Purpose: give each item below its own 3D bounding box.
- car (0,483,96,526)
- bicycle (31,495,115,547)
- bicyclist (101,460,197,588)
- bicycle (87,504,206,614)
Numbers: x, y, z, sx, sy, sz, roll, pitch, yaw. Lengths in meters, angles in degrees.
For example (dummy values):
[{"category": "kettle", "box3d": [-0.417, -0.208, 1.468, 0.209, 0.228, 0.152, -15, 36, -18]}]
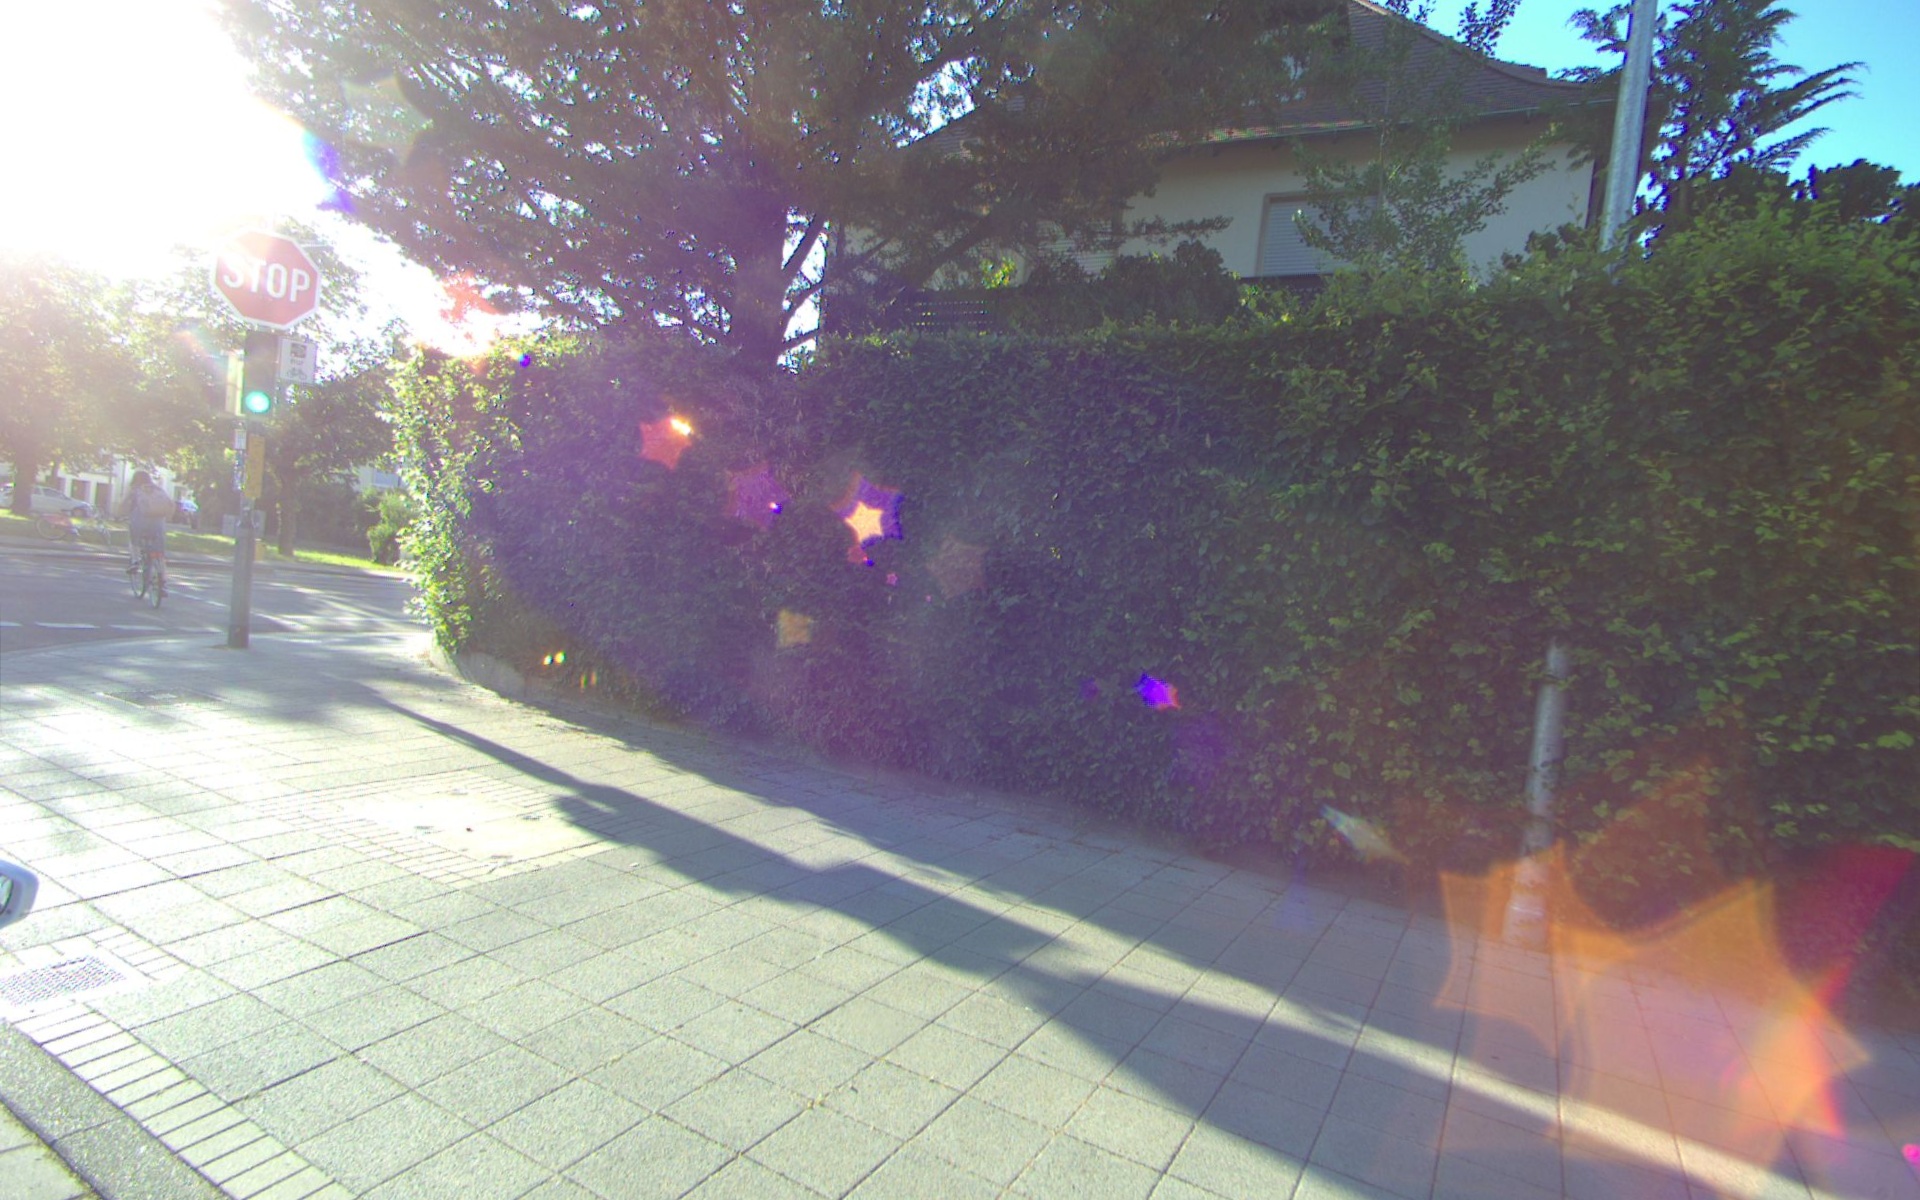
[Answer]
[{"category": "car", "box3d": [-46.070, -4.776, 50.342, 1.497, 1.542, 3.932, 5, -2, 25]}, {"category": "bicycle", "box3d": [-23.044, -2.040, 26.159, 0.460, 1.103, 1.520, 11, 3, 38]}, {"category": "bicyclist", "box3d": [-10.887, -1.013, 13.503, 0.881, 1.580, 0.711, 6, -2, 41]}, {"category": "bicycle", "box3d": [-10.971, -0.569, 13.552, 1.930, 1.198, 0.492, 10, 1, 31]}]
